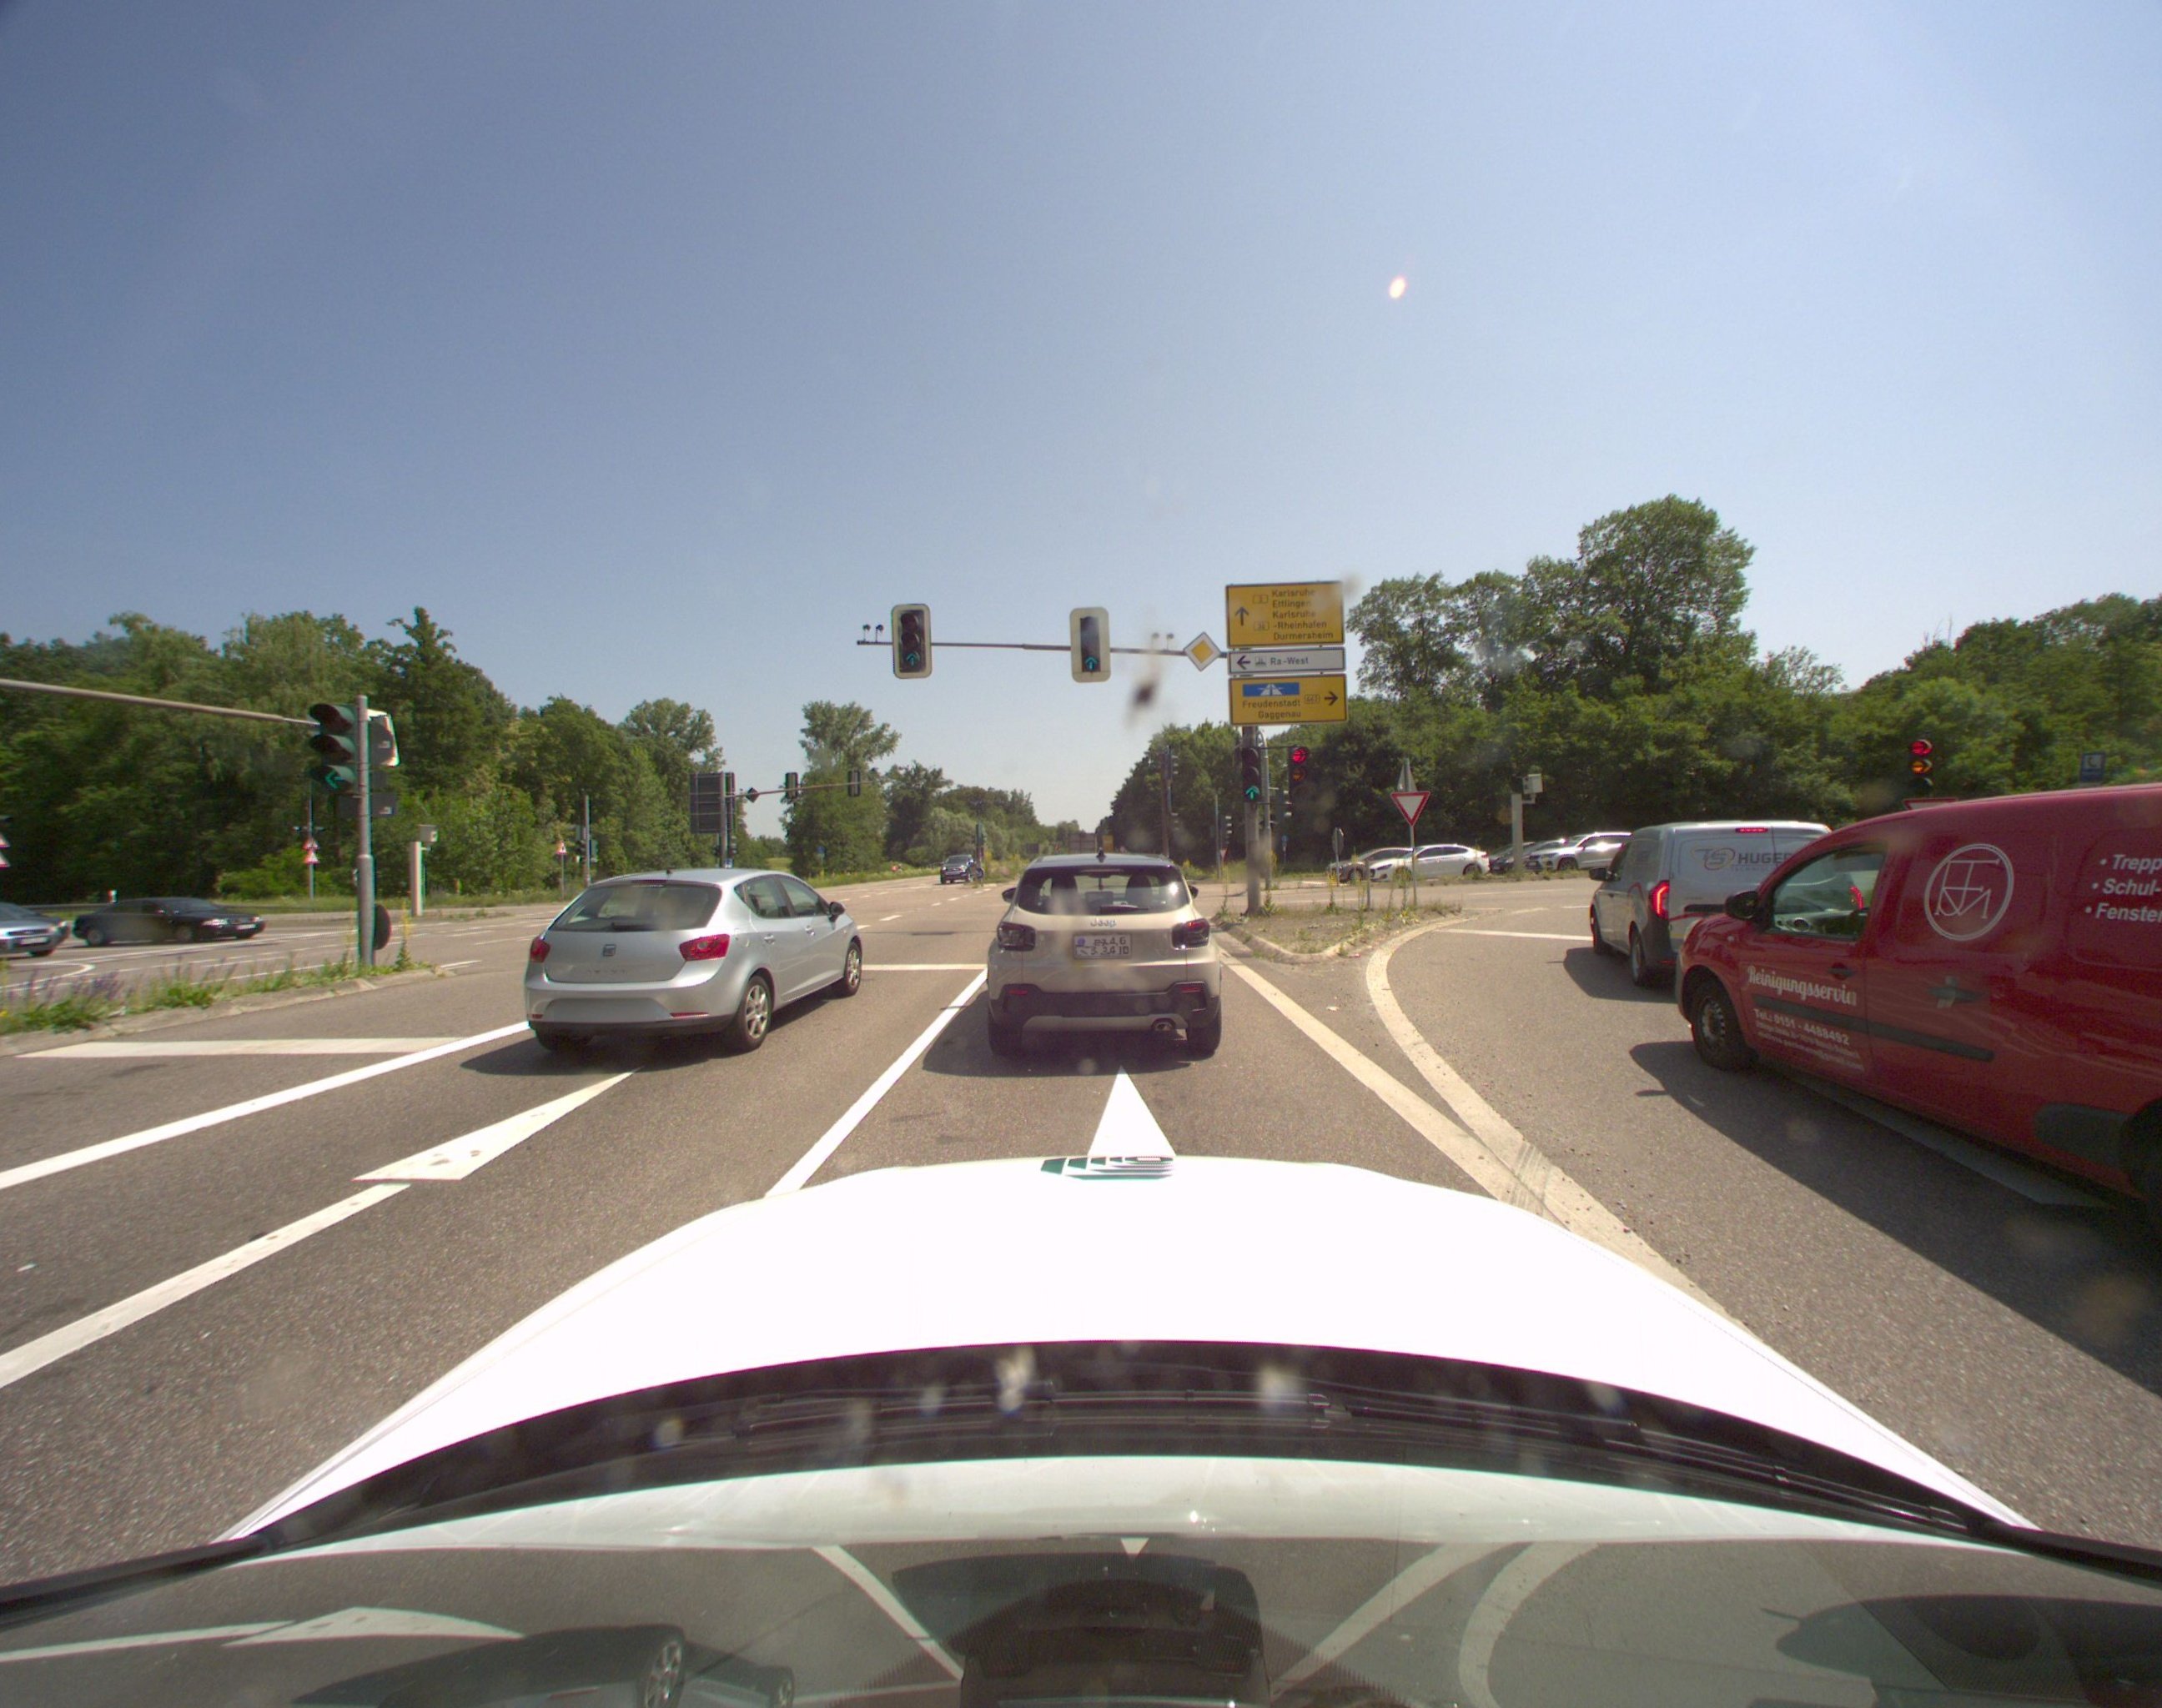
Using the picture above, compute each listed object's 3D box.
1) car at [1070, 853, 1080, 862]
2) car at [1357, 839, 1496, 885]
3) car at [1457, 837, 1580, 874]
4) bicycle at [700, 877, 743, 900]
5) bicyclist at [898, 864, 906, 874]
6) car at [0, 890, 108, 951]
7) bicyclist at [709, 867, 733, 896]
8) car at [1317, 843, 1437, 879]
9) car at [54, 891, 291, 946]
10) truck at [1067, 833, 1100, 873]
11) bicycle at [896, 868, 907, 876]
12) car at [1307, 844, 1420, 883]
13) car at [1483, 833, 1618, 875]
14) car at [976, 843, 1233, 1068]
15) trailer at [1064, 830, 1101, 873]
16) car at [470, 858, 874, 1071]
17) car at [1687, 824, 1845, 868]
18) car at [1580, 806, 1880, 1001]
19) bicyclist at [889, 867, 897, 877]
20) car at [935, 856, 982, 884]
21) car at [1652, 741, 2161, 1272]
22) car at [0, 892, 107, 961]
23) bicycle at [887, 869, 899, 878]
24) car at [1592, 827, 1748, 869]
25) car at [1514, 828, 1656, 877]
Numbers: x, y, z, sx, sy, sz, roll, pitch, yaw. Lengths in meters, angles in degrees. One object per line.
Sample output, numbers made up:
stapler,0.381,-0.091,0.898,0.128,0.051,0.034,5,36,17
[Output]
car,-1.323,0.800,189.740,1.985,2.013,4.558,-2,0,3
car,13.097,0.305,31.061,4.406,1.535,1.999,-2,0,-1
car,20.349,0.070,38.052,4.600,1.498,2.112,-2,-1,1
bicycle,-18.646,1.774,42.279,0.715,1.063,1.881,-2,0,38
bicyclist,-22.202,1.807,100.857,0.730,1.195,0.594,-3,-1,12
car,-32.902,2.051,24.608,4.783,1.636,2.002,-2,0,4
bicyclist,-18.694,1.449,42.282,0.914,1.459,0.721,-3,0,38
car,13.909,0.359,38.496,4.913,1.498,2.021,-2,-1,1
car,-27.310,1.922,24.619,4.788,1.290,2.106,-2,0,1
truck,0.287,-0.080,86.595,3.321,3.989,6.533,0,-1,1
bicycle,-22.218,2.245,100.827,0.600,1.006,1.560,-3,-1,12
car,12.051,0.396,34.922,4.080,1.447,1.994,-2,0,-1
car,19.712,0.028,34.350,4.404,1.535,2.122,-2,-1,0
car,0.226,0.708,7.667,1.761,1.535,4.002,-1,0,2
trailer,0.231,-0.172,80.771,3.371,3.989,10.804,0,-1,1
car,-3.279,0.761,7.464,1.659,1.430,3.830,0,0,2
car,26.057,-0.299,31.097,4.315,1.414,1.974,-3,-1,1
car,7.272,0.450,9.644,1.740,1.773,4.136,-2,0,24
bicyclist,-22.405,2.143,97.083,0.752,1.195,0.594,-3,0,11
car,-7.975,1.006,53.523,1.986,1.678,5.367,-3,0,2
car,4.864,0.509,3.970,1.780,1.822,4.511,-1,0,12
car,-28.553,1.899,20.773,4.788,1.567,2.130,-2,0,0
bicycle,-22.390,2.369,97.101,0.672,1.005,1.806,-3,0,11
car,25.215,-0.236,35.017,5.111,1.534,2.138,-3,-1,1
car,19.272,-0.067,31.287,4.157,1.659,2.000,-2,0,1
